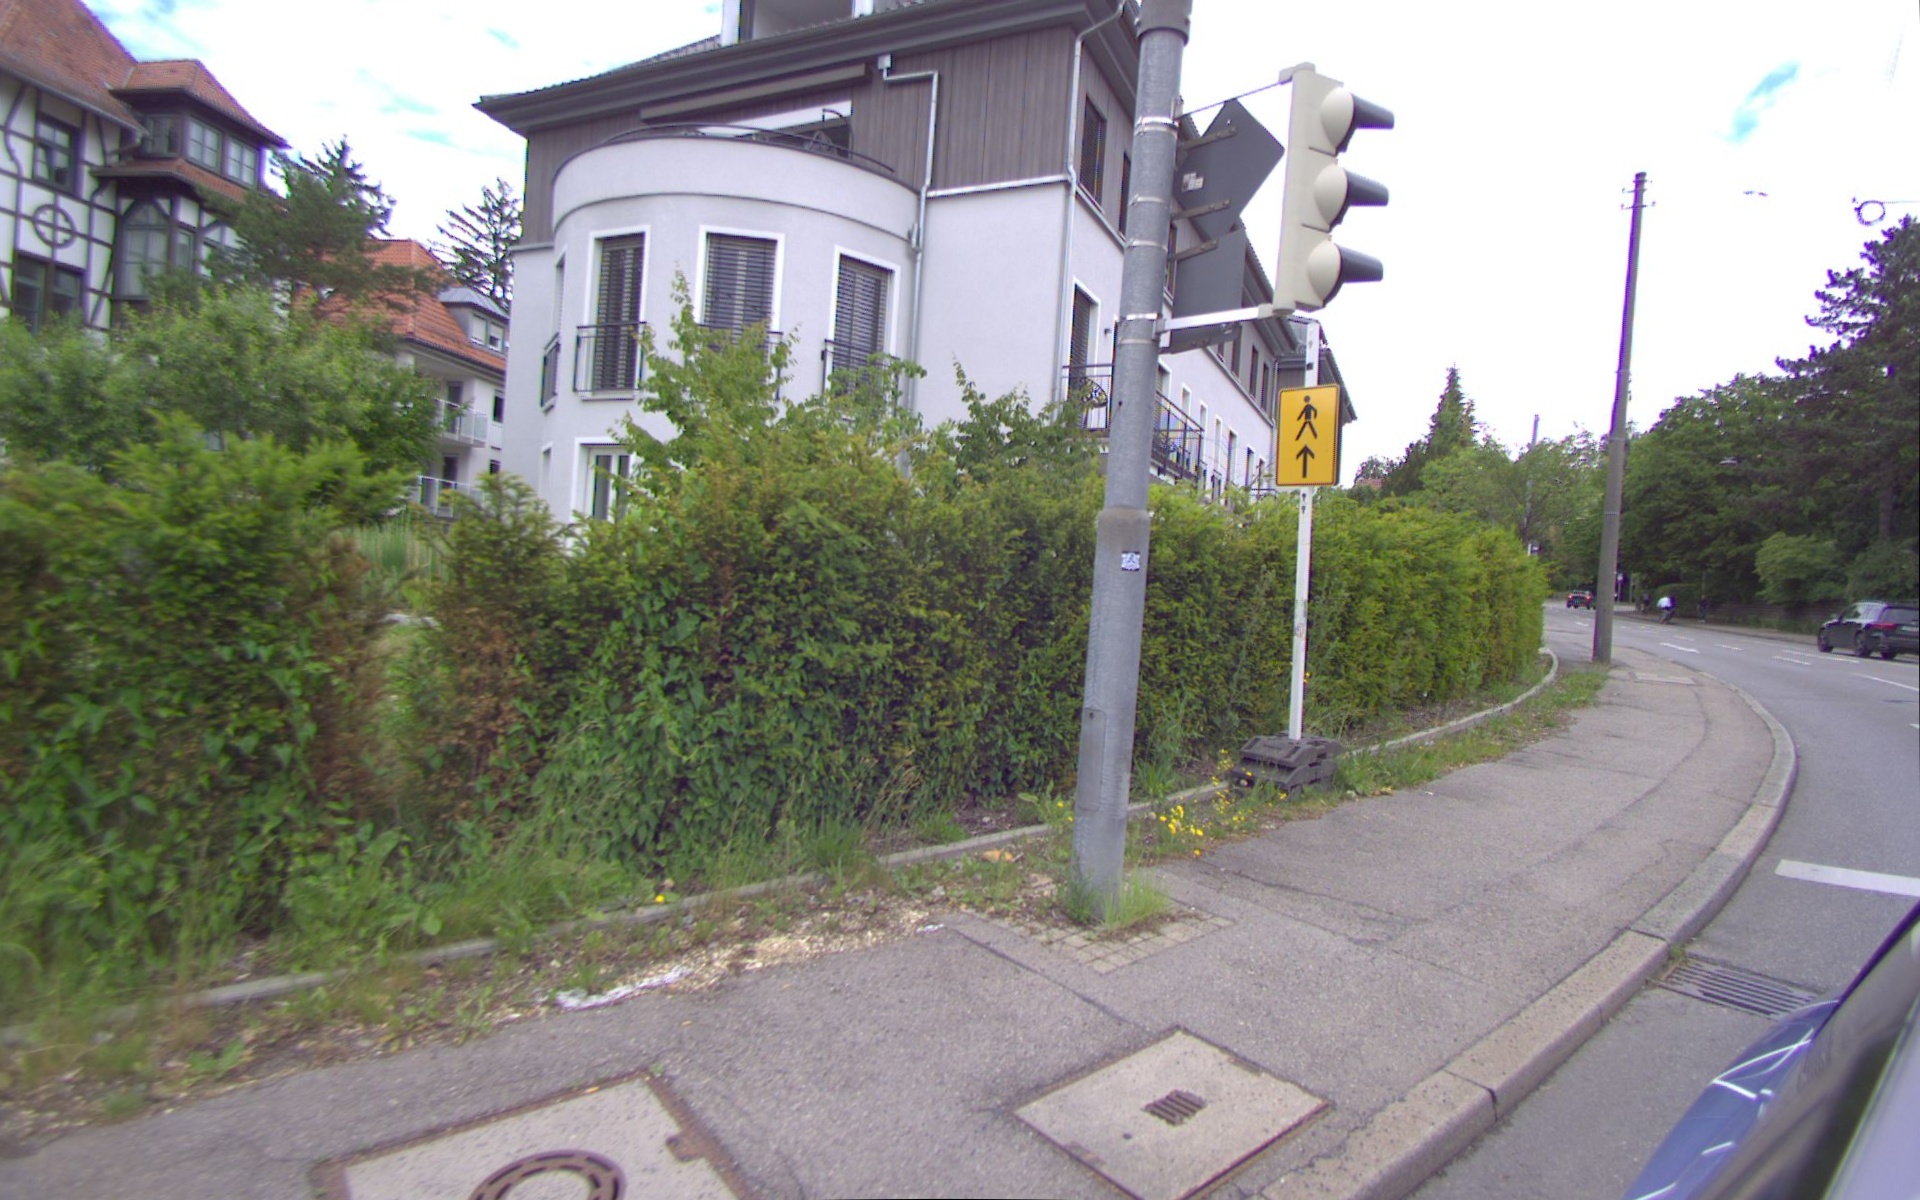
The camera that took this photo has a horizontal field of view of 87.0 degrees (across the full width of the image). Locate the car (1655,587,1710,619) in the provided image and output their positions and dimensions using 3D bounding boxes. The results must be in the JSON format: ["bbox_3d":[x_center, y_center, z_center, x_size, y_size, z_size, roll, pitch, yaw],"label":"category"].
[{"bbox_3d":[43.635,0.148,61.191,1.913,1.700,3.540,5,3,25],"label":"car"}]

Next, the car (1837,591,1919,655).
[{"bbox_3d":[27.519,0.666,29.513,1.913,1.700,3.540,5,3,25],"label":"car"}]

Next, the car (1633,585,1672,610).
[{"bbox_3d":[50.156,-0.184,73.367,1.665,1.649,3.590,5,3,25],"label":"car"}]

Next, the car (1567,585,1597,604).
[{"bbox_3d":[57.320,-0.519,93.319,1.982,1.536,3.961,4,2,28],"label":"car"}]
